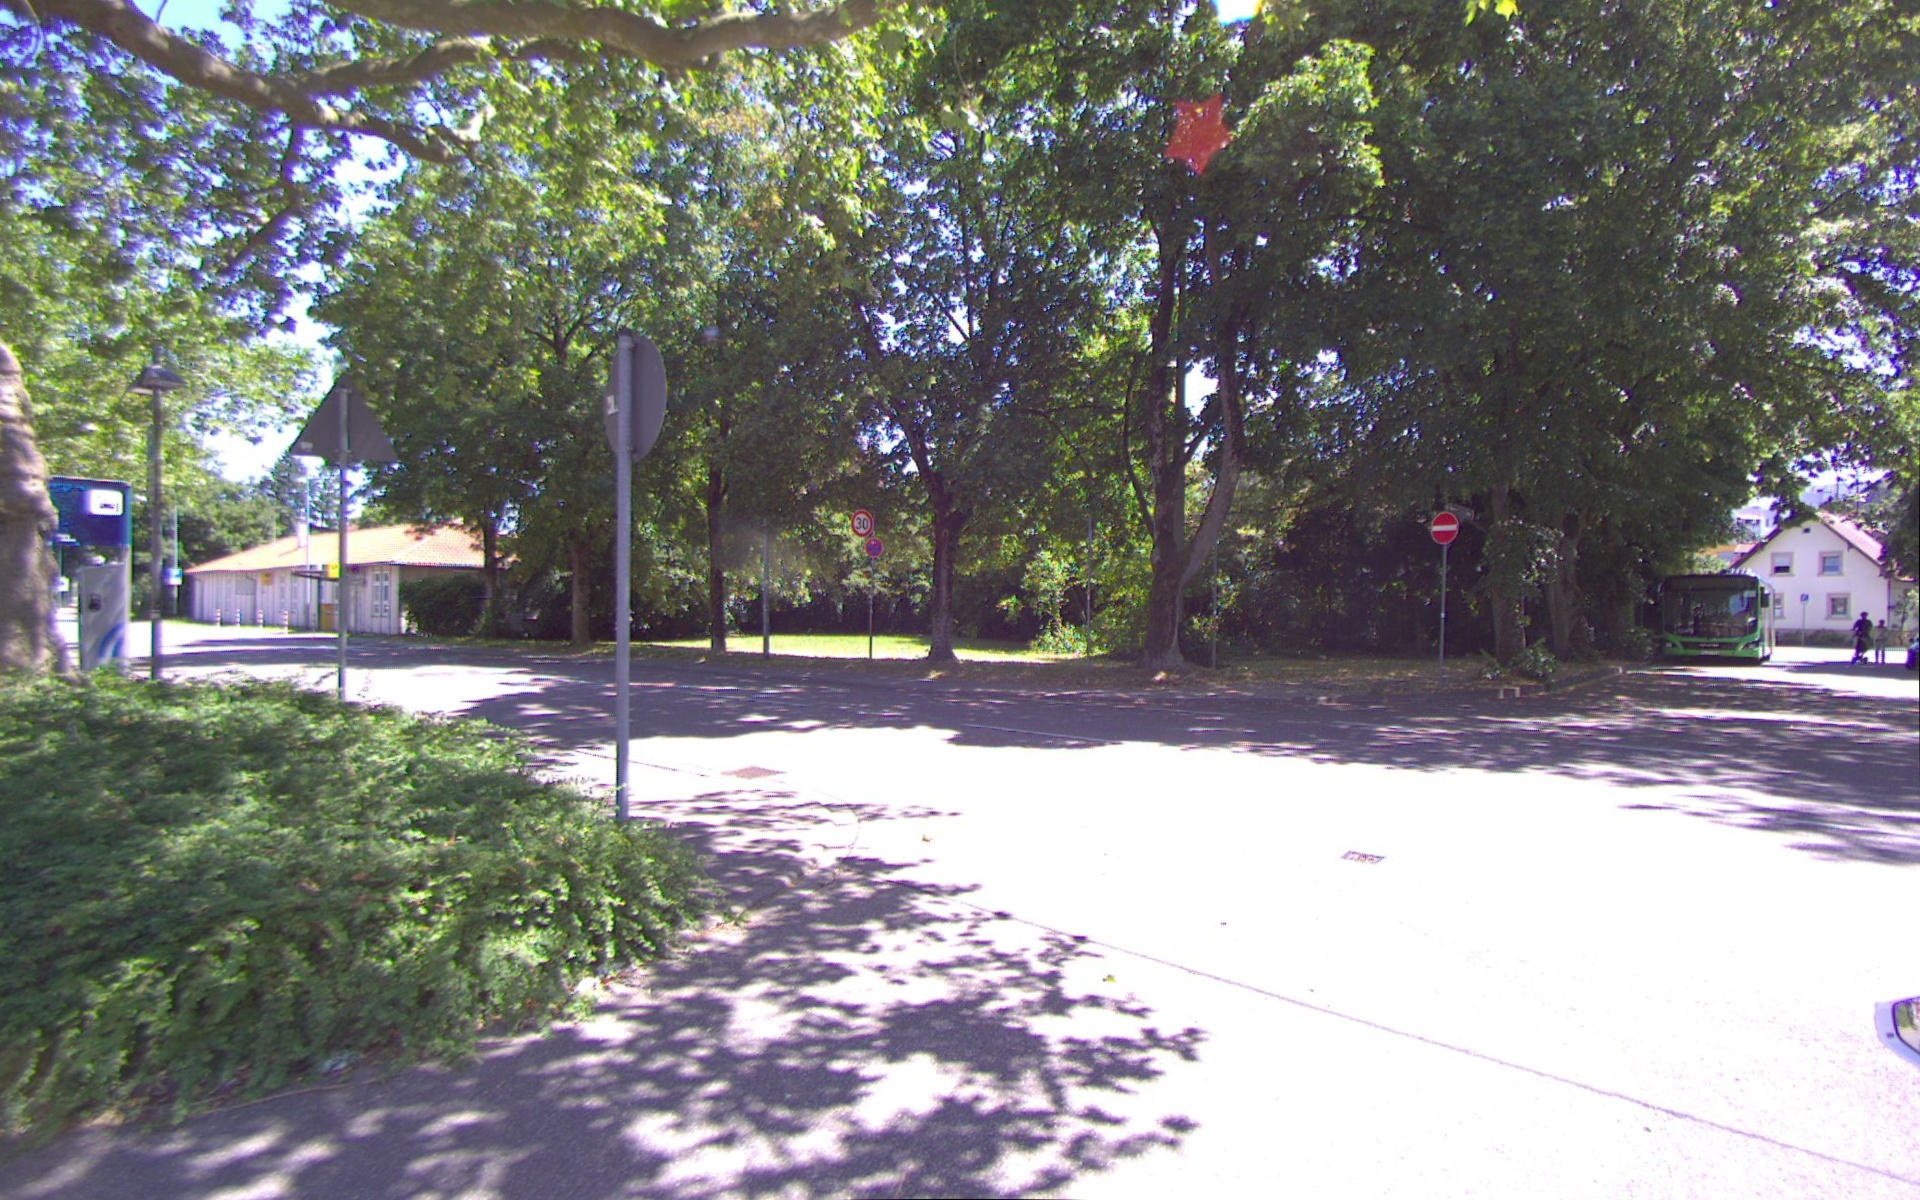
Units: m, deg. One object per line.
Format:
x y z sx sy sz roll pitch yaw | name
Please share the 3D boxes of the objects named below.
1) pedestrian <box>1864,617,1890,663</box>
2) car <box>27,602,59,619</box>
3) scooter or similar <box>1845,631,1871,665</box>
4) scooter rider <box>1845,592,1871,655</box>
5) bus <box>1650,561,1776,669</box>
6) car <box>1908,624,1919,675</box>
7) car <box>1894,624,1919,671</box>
36.468 1.580 39.943 0.934 1.826 0.713 1 0 -44 | pedestrian
-93.866 1.032 102.806 3.939 1.686 1.921 0 -1 40 | car
33.856 1.802 37.881 0.730 1.199 1.511 0 -1 42 | scooter or similar
33.874 0.878 37.889 0.730 2.348 0.922 0 0 42 | scooter rider
28.873 0.602 38.105 2.835 3.339 15.872 1 -1 40 | bus
30.467 1.511 30.830 1.734 1.513 4.354 0 0 40 | car
33.097 1.606 34.159 1.734 1.513 3.899 0 0 40 | car
